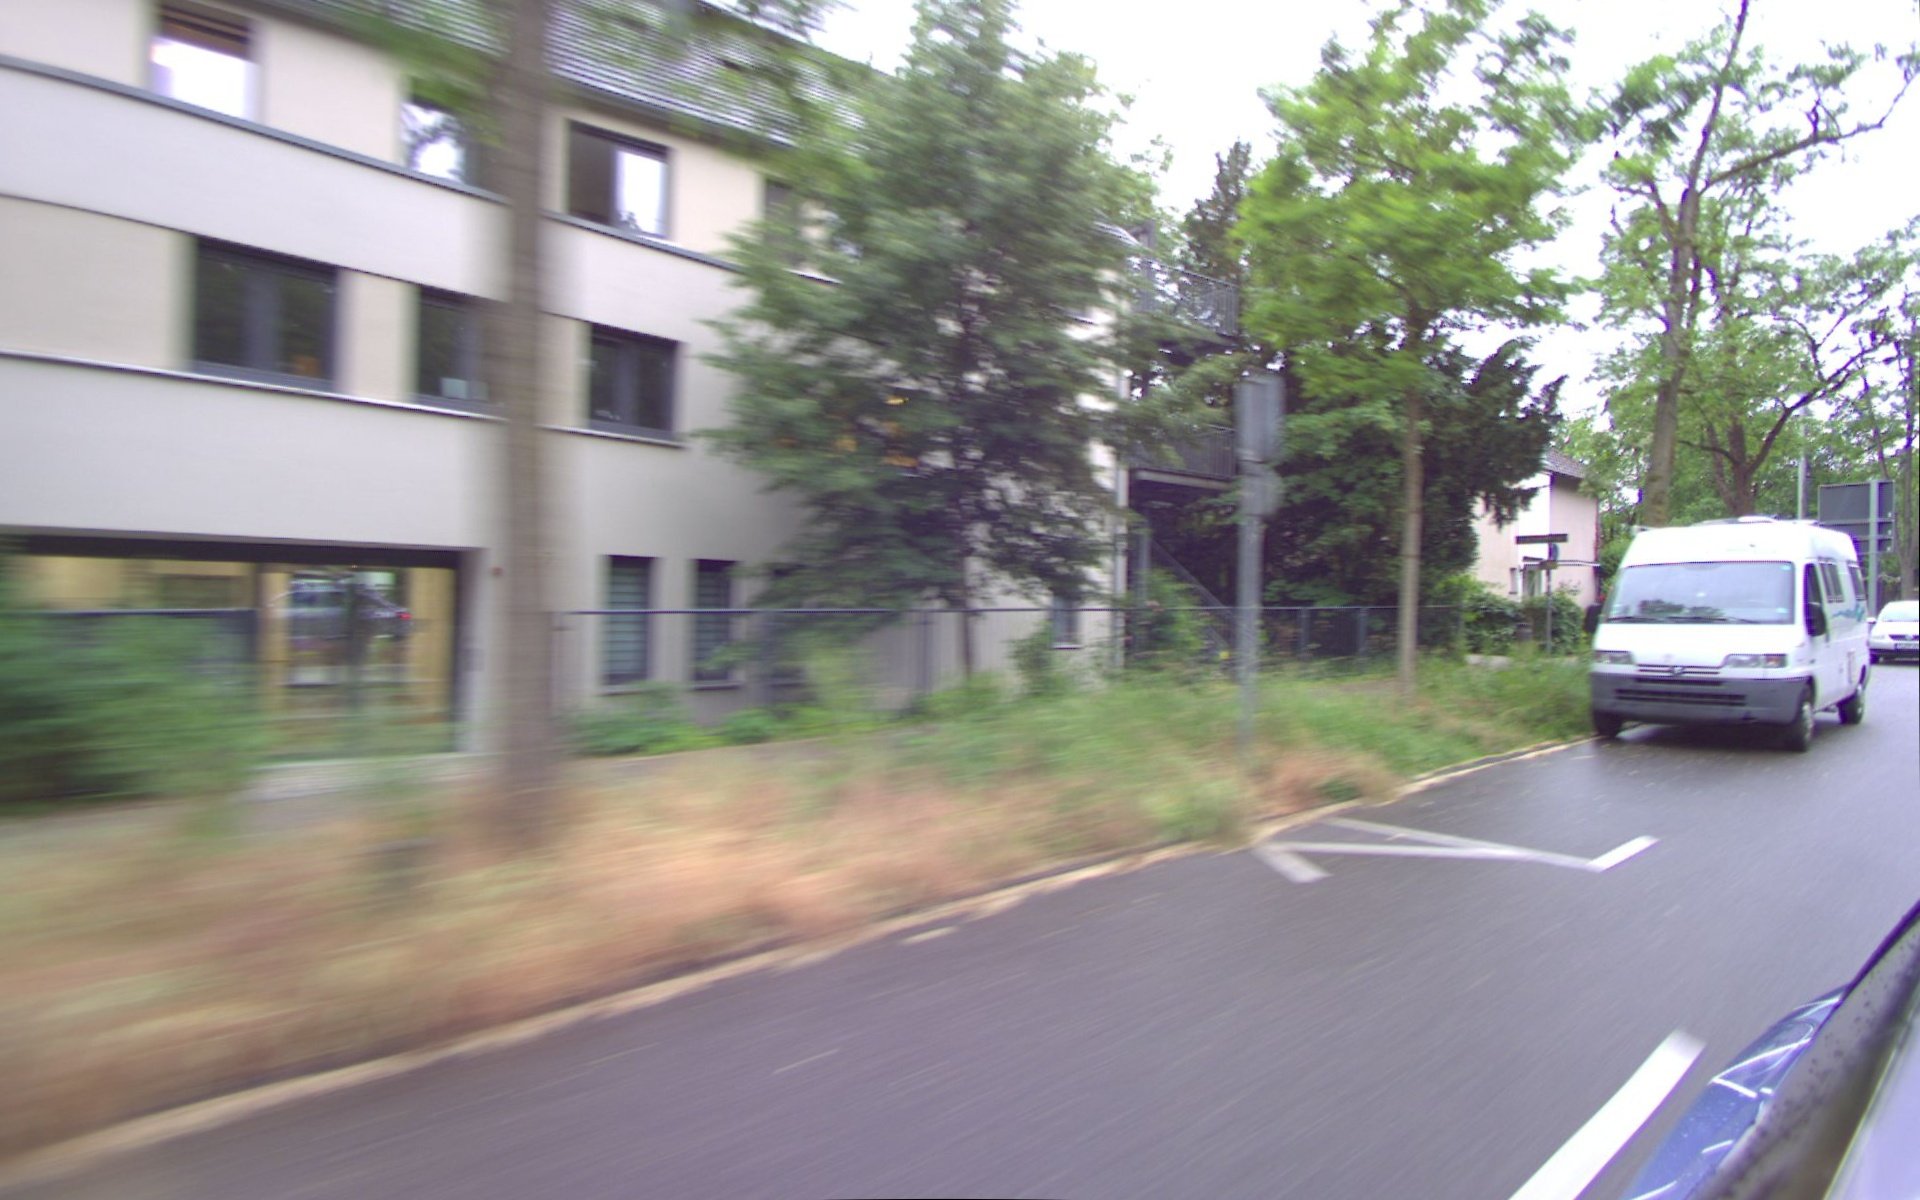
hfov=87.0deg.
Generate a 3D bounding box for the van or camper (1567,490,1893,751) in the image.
[{"bbox_3d":[9.568,0.206,12.357,5.540,2.511,2.039,0,-2,-41],"label":"van or camper"}]

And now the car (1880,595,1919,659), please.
[{"bbox_3d":[23.881,0.613,24.745,3.699,1.491,1.574,0,-1,-41],"label":"car"}]

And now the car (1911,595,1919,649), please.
[{"bbox_3d":[28.248,0.573,28.498,3.873,1.489,1.620,0,-1,-39],"label":"car"}]
